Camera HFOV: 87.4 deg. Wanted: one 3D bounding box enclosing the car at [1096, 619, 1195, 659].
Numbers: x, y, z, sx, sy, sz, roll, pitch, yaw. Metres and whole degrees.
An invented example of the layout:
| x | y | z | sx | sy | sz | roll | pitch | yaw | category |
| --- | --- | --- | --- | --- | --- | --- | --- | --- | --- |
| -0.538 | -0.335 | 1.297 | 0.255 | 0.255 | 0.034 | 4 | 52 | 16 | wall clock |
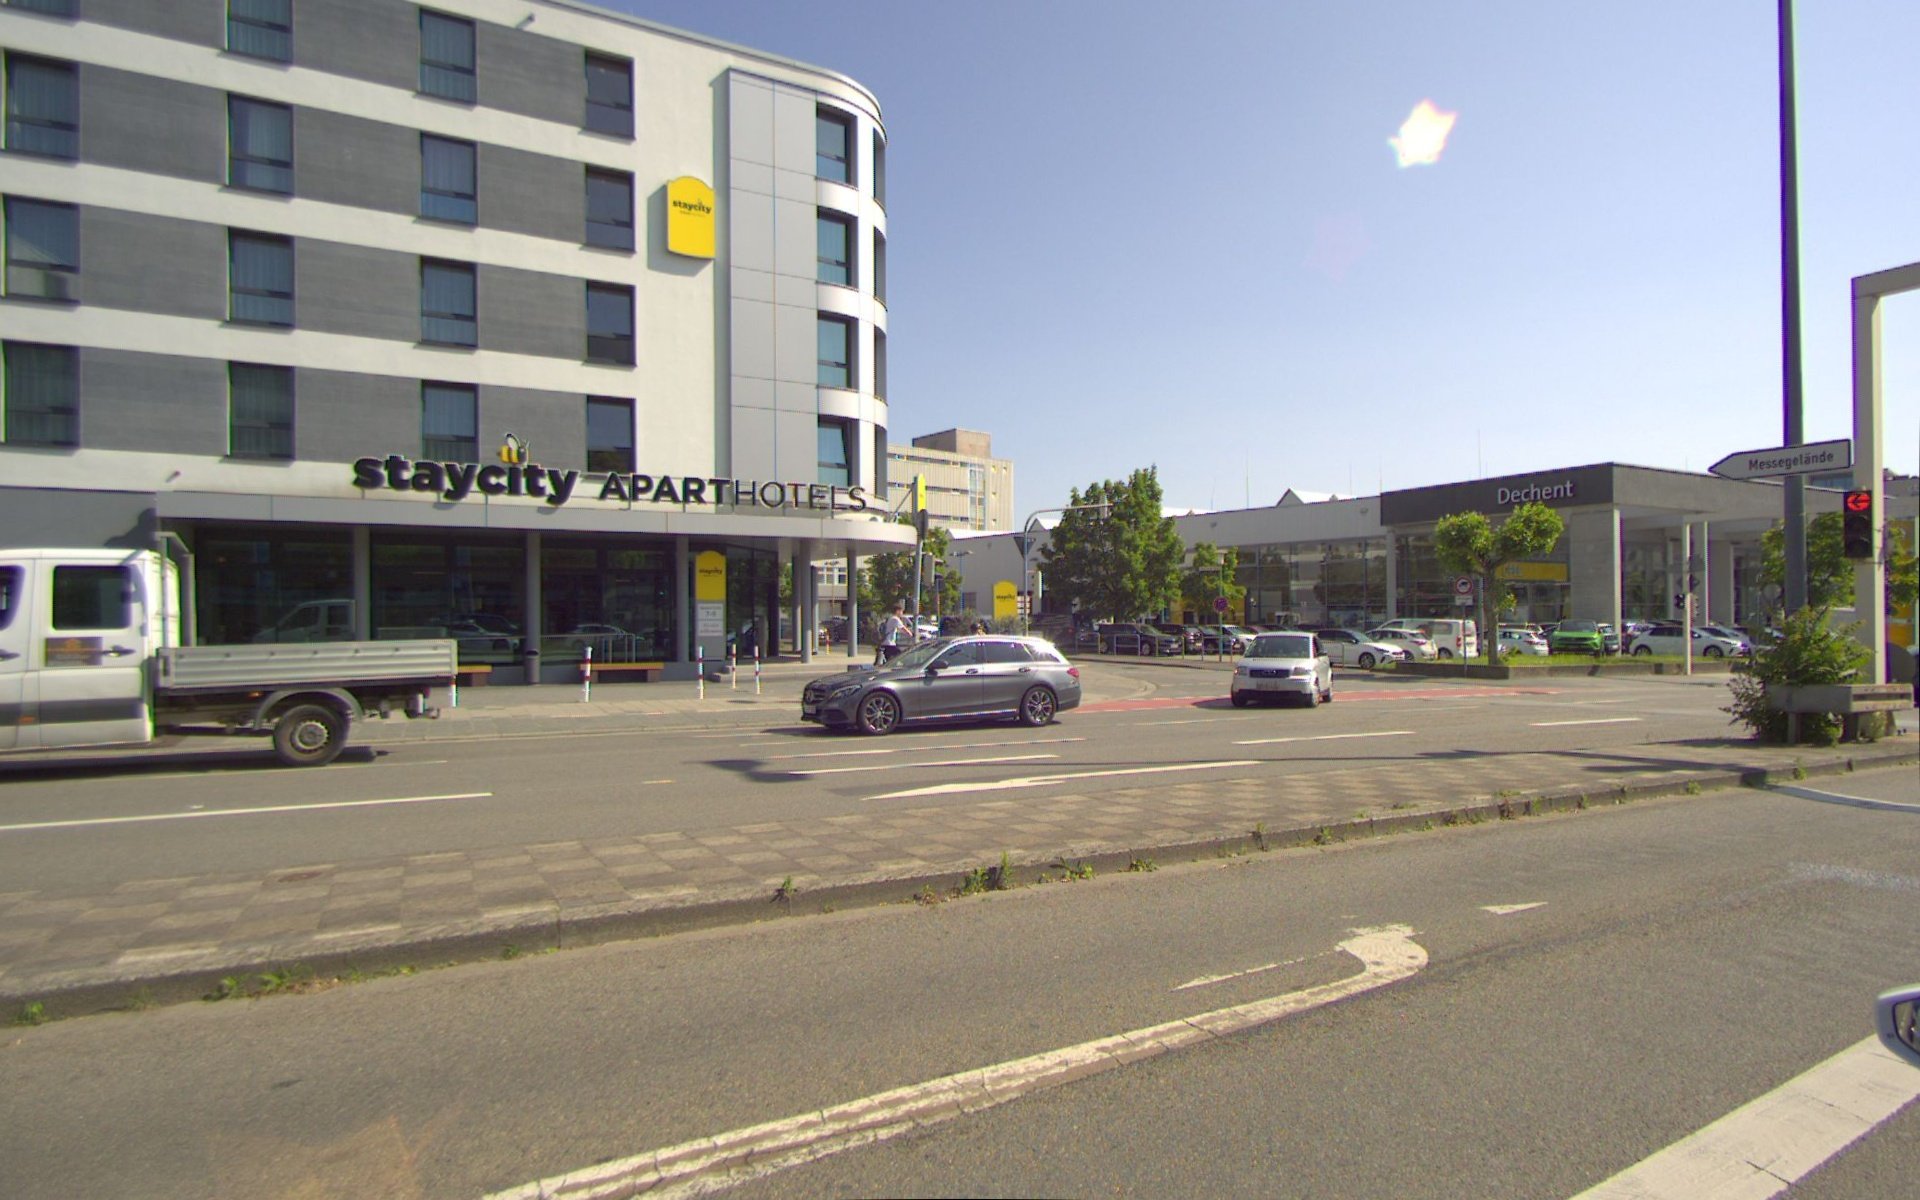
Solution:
| x | y | z | sx | sy | sz | roll | pitch | yaw | category |
| --- | --- | --- | --- | --- | --- | --- | --- | --- | --- |
| 8.411 | 1.749 | 45.924 | 1.980 | 1.719 | 4.328 | 1 | -2 | -35 | car |

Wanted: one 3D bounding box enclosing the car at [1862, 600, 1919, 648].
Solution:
| x | y | z | sx | sy | sz | roll | pitch | yaw | category |
| --- | --- | --- | --- | --- | --- | --- | --- | --- | --- |
| 53.236 | 1.351 | 55.757 | 1.973 | 2.635 | 4.345 | 1 | -1 | -24 | car |

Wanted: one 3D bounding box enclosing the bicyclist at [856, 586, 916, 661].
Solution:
| x | y | z | sx | sy | sz | roll | pitch | yaw | category |
| --- | --- | --- | --- | --- | --- | --- | --- | --- | --- |
| -1.509 | 0.477 | 20.499 | 1.013 | 1.479 | 0.766 | 1 | -1 | -25 | bicyclist |

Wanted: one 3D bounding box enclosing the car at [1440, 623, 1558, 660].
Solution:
| x | y | z | sx | sy | sz | roll | pitch | yaw | category |
| --- | --- | --- | --- | --- | --- | --- | --- | --- | --- |
| 24.551 | 1.871 | 45.881 | 1.982 | 1.612 | 4.325 | 1 | -2 | -37 | car |

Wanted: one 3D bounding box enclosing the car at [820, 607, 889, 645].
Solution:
| x | y | z | sx | sy | sz | roll | pitch | yaw | category |
| --- | --- | --- | --- | --- | --- | --- | --- | --- | --- |
| -6.718 | 1.615 | 63.443 | 1.985 | 2.158 | 4.565 | 2 | 0 | -42 | car |

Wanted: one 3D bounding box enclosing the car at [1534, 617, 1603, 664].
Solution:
| x | y | z | sx | sy | sz | roll | pitch | yaw | category |
| --- | --- | --- | --- | --- | --- | --- | --- | --- | --- |
| 23.992 | 1.609 | 39.719 | 1.870 | 1.756 | 3.293 | 0 | -3 | 23 | car |

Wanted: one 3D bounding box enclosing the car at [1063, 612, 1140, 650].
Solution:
| x | y | z | sx | sy | sz | roll | pitch | yaw | category |
| --- | --- | --- | --- | --- | --- | --- | --- | --- | --- |
| 7.754 | 1.693 | 55.304 | 1.983 | 2.040 | 3.956 | 1 | -2 | -38 | car |

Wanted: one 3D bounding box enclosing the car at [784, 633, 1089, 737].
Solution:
| x | y | z | sx | sy | sz | roll | pitch | yaw | category |
| --- | --- | --- | --- | --- | --- | --- | --- | --- | --- |
| -0.332 | 1.263 | 16.057 | 4.532 | 1.446 | 1.946 | 1 | -2 | -31 | car |

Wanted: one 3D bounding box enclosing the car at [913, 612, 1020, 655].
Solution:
| x | y | z | sx | sy | sz | roll | pitch | yaw | category |
| --- | --- | --- | --- | --- | --- | --- | --- | --- | --- |
| 0.214 | 1.417 | 43.179 | 1.984 | 1.737 | 4.773 | 1 | -2 | -40 | car |

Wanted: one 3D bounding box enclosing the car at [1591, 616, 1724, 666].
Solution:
| x | y | z | sx | sy | sz | roll | pitch | yaw | category |
| --- | --- | --- | --- | --- | --- | --- | --- | --- | --- |
| 27.350 | 1.575 | 39.495 | 1.978 | 1.862 | 3.849 | 1 | -2 | -32 | car |

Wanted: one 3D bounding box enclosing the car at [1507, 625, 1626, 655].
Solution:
| x | y | z | sx | sy | sz | roll | pitch | yaw | category |
| --- | --- | --- | --- | --- | --- | --- | --- | --- | --- |
| 27.865 | 1.836 | 46.268 | 1.982 | 1.284 | 4.325 | 4 | -4 | -37 | car |

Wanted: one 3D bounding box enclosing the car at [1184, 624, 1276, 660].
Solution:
| x | y | z | sx | sy | sz | roll | pitch | yaw | category |
| --- | --- | --- | --- | --- | --- | --- | --- | --- | --- |
| 13.795 | 2.119 | 51.439 | 1.980 | 1.719 | 4.328 | 1 | -2 | -35 | car |

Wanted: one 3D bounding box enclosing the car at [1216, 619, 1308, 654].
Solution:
| x | y | z | sx | sy | sz | roll | pitch | yaw | category |
| --- | --- | --- | --- | --- | --- | --- | --- | --- | --- |
| 15.811 | 1.881 | 52.694 | 1.982 | 1.719 | 4.324 | 1 | -2 | -37 | car |

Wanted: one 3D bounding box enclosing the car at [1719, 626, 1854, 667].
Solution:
| x | y | z | sx | sy | sz | roll | pitch | yaw | category |
| --- | --- | --- | --- | --- | --- | --- | --- | --- | --- |
| 37.437 | 2.078 | 45.596 | 1.978 | 1.719 | 4.333 | 1 | -1 | -32 | car |

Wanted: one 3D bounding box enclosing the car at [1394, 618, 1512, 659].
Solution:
| x | y | z | sx | sy | sz | roll | pitch | yaw | category |
| --- | --- | --- | --- | --- | --- | --- | --- | --- | --- |
| 21.975 | 1.692 | 44.918 | 1.982 | 1.719 | 4.323 | 1 | -2 | -38 | car |

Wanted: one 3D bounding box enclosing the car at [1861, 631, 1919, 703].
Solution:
| x | y | z | sx | sy | sz | roll | pitch | yaw | category |
| --- | --- | --- | --- | --- | --- | --- | --- | --- | --- |
| 21.848 | 1.400 | 20.849 | 4.291 | 1.466 | 1.997 | -1 | -2 | 28 | car |

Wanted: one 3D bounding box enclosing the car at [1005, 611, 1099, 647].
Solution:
| x | y | z | sx | sy | sz | roll | pitch | yaw | category |
| --- | --- | --- | --- | --- | --- | --- | --- | --- | --- |
| 4.565 | 1.447 | 50.249 | 4.304 | 1.719 | 1.991 | -1 | -2 | 39 | car |

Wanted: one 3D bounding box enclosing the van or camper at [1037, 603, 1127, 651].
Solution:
| x | y | z | sx | sy | sz | roll | pitch | yaw | category |
| --- | --- | --- | --- | --- | --- | --- | --- | --- | --- |
| 6.402 | 1.417 | 53.000 | 1.983 | 2.432 | 4.678 | 1 | -2 | -38 | van or camper |

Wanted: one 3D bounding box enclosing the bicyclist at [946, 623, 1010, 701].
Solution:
| x | y | z | sx | sy | sz | roll | pitch | yaw | category |
| --- | --- | --- | --- | --- | --- | --- | --- | --- | --- |
| 0.358 | 1.187 | 19.627 | 1.014 | 1.479 | 0.765 | 1 | -1 | -27 | bicyclist |

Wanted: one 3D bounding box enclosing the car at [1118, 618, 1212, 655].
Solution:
| x | y | z | sx | sy | sz | roll | pitch | yaw | category |
| --- | --- | --- | --- | --- | --- | --- | --- | --- | --- |
| 9.827 | 1.734 | 48.398 | 1.980 | 1.719 | 4.328 | 1 | -2 | -35 | car |

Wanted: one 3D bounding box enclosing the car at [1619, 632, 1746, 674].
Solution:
| x | y | z | sx | sy | sz | roll | pitch | yaw | category |
| --- | --- | --- | --- | --- | --- | --- | --- | --- | --- |
| 30.424 | 2.208 | 42.381 | 1.981 | 1.620 | 3.959 | 1 | -2 | -36 | car |

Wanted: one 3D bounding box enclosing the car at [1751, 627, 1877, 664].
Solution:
| x | y | z | sx | sy | sz | roll | pitch | yaw | category |
| --- | --- | --- | --- | --- | --- | --- | --- | --- | --- |
| 41.639 | 2.182 | 49.080 | 1.978 | 1.719 | 4.333 | 1 | -2 | -32 | car |

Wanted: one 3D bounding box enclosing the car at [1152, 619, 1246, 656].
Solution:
| x | y | z | sx | sy | sz | roll | pitch | yaw | category |
| --- | --- | --- | --- | --- | --- | --- | --- | --- | --- |
| 11.737 | 1.810 | 49.566 | 1.980 | 1.719 | 4.328 | 1 | -2 | -35 | car |

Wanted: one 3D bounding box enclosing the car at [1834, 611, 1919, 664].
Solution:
| x | y | z | sx | sy | sz | roll | pitch | yaw | category |
| --- | --- | --- | --- | --- | --- | --- | --- | --- | --- |
| 49.017 | 1.939 | 52.579 | 2.096 | 2.720 | 4.490 | 1 | -1 | -21 | car |

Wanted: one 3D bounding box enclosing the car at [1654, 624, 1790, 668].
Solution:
| x | y | z | sx | sy | sz | roll | pitch | yaw | category |
| --- | --- | --- | --- | --- | --- | --- | --- | --- | --- |
| 32.850 | 1.929 | 43.409 | 1.978 | 1.789 | 4.274 | 1 | -2 | -32 | car |

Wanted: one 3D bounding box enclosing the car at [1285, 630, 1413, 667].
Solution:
| x | y | z | sx | sy | sz | roll | pitch | yaw | category |
| --- | --- | --- | --- | --- | --- | --- | --- | --- | --- |
| 15.076 | 1.842 | 39.123 | 1.980 | 1.317 | 4.328 | 1 | -2 | -35 | car |

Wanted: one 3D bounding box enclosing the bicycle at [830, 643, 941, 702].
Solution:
| x | y | z | sx | sy | sz | roll | pitch | yaw | category |
| --- | --- | --- | --- | --- | --- | --- | --- | --- | --- |
| -1.513 | 1.454 | 20.490 | 2.132 | 1.131 | 0.766 | 1 | -1 | -25 | bicycle |

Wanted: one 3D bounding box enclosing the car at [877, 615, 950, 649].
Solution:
| x | y | z | sx | sy | sz | roll | pitch | yaw | category |
| --- | --- | --- | --- | --- | --- | --- | --- | --- | --- |
| -2.781 | 1.888 | 59.350 | 1.971 | 1.815 | 4.376 | 2 | 0 | -42 | car |

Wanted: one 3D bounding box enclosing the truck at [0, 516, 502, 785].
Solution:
| x | y | z | sx | sy | sz | roll | pitch | yaw | category |
| --- | --- | --- | --- | --- | --- | --- | --- | --- | --- |
| -8.705 | 0.556 | 11.273 | 6.357 | 2.578 | 2.348 | 1 | -3 | -29 | truck |

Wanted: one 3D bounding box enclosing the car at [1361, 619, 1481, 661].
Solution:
| x | y | z | sx | sy | sz | roll | pitch | yaw | category |
| --- | --- | --- | --- | --- | --- | --- | --- | --- | --- |
| 19.830 | 1.703 | 43.360 | 1.982 | 1.719 | 4.323 | 1 | -2 | -38 | car |

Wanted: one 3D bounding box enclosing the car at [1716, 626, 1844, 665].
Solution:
| x | y | z | sx | sy | sz | roll | pitch | yaw | category |
| --- | --- | --- | --- | --- | --- | --- | --- | --- | --- |
| 38.938 | 2.136 | 47.773 | 1.978 | 1.719 | 4.333 | 1 | -2 | -32 | car |

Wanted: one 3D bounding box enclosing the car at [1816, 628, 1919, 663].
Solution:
| x | y | z | sx | sy | sz | roll | pitch | yaw | category |
| --- | --- | --- | --- | --- | --- | --- | --- | --- | --- |
| 46.891 | 2.297 | 51.406 | 1.976 | 1.719 | 4.337 | 1 | -2 | -29 | car |

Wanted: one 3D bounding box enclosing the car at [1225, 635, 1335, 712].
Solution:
| x | y | z | sx | sy | sz | roll | pitch | yaw | category |
| --- | --- | --- | --- | --- | --- | --- | --- | --- | --- |
| 6.941 | 1.487 | 21.534 | 1.744 | 1.457 | 3.912 | 0 | -2 | 25 | car |

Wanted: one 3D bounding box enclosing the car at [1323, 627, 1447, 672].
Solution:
| x | y | z | sx | sy | sz | roll | pitch | yaw | category |
| --- | --- | --- | --- | --- | --- | --- | --- | --- | --- |
| 17.426 | 1.987 | 41.374 | 1.980 | 1.719 | 4.328 | 1 | -2 | -35 | car |
